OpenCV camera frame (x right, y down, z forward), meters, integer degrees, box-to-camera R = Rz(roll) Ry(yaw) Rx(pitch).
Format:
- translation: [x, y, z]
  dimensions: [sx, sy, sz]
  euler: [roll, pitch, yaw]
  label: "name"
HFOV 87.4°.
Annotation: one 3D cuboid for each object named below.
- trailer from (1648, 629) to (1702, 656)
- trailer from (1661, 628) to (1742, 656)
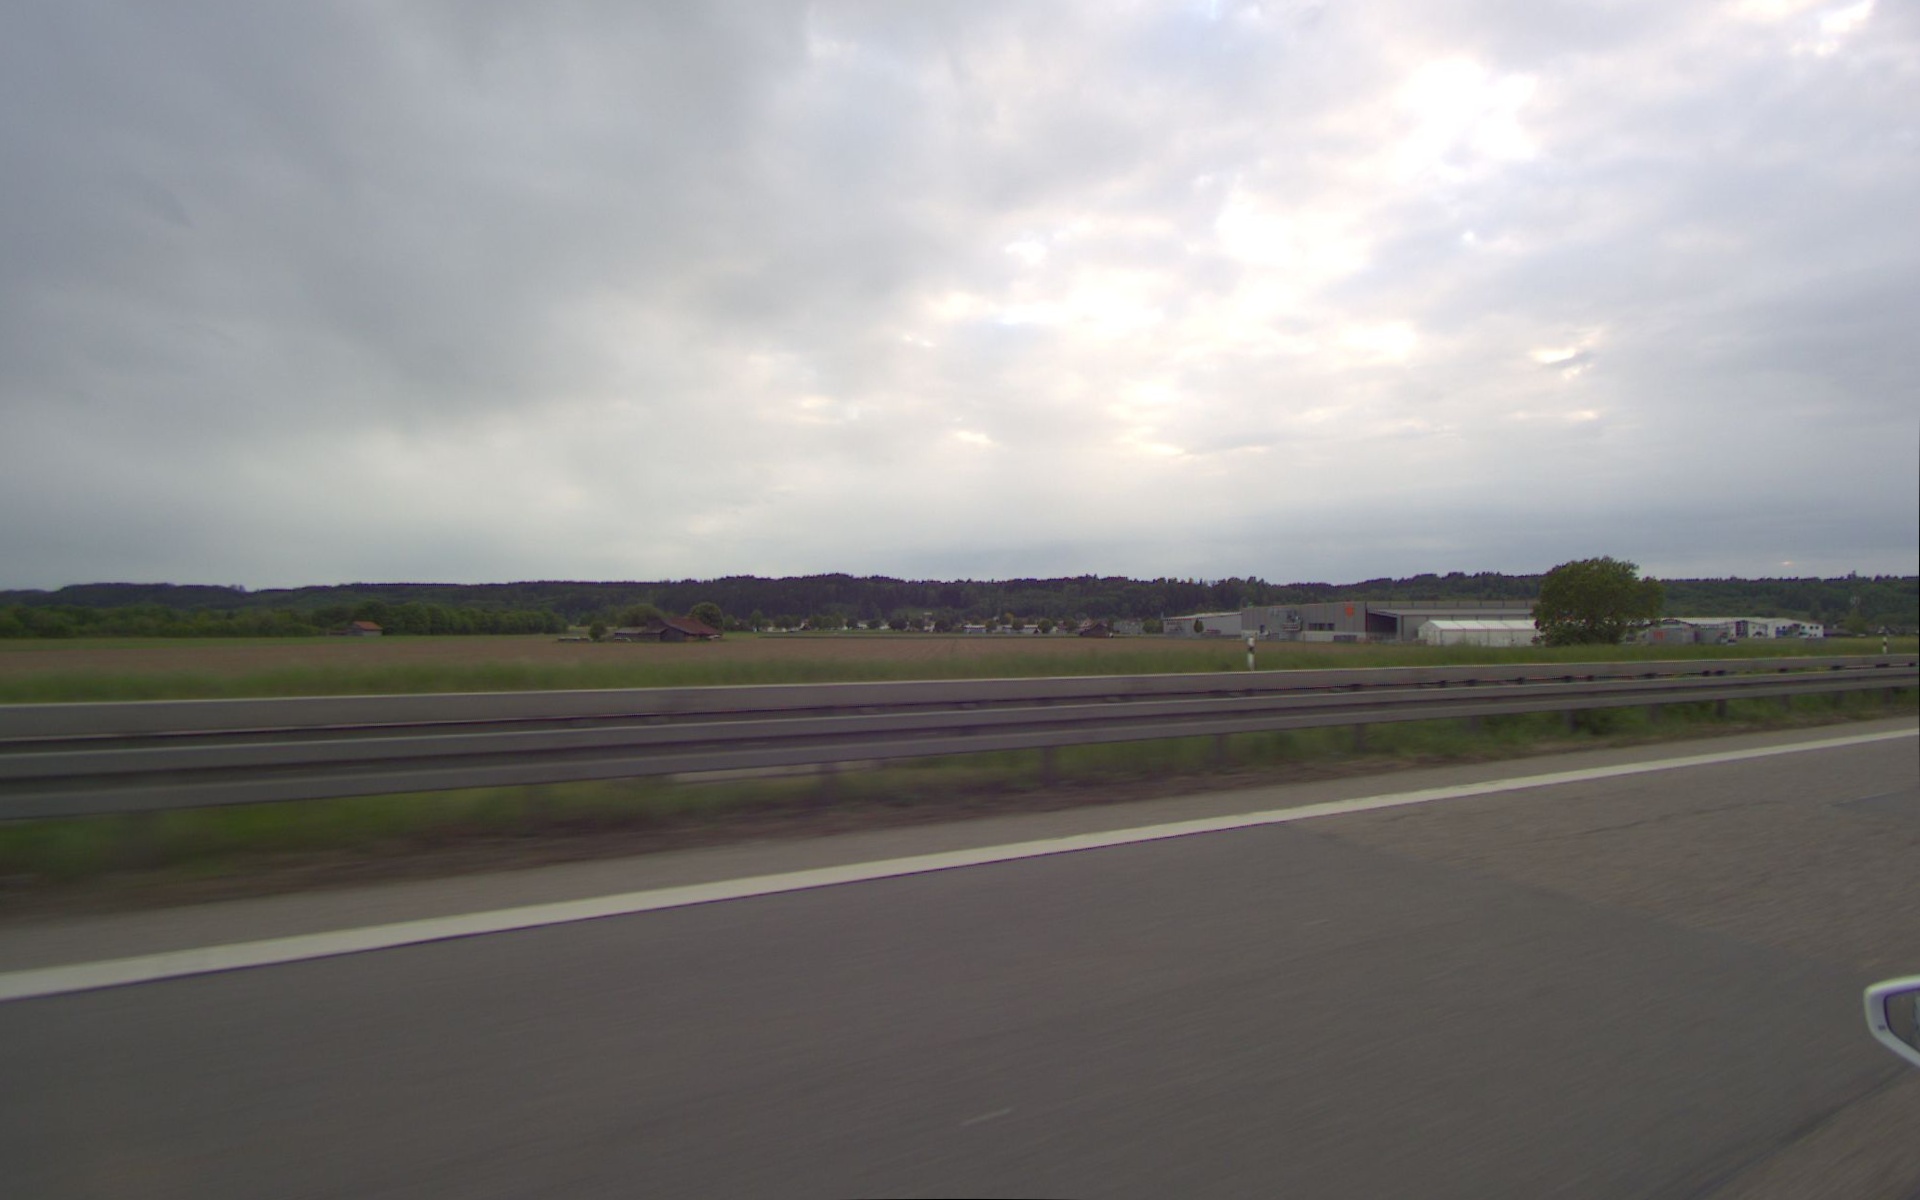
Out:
- translation: [142.646, 8.497, 200.626]
  dimensions: [3.680, 5.329, 10.085]
  euler: [1, -3, 0]
  label: "trailer"
- translation: [146.817, 8.424, 199.313]
  dimensions: [3.499, 5.202, 17.040]
  euler: [1, -3, 0]
  label: "trailer"
